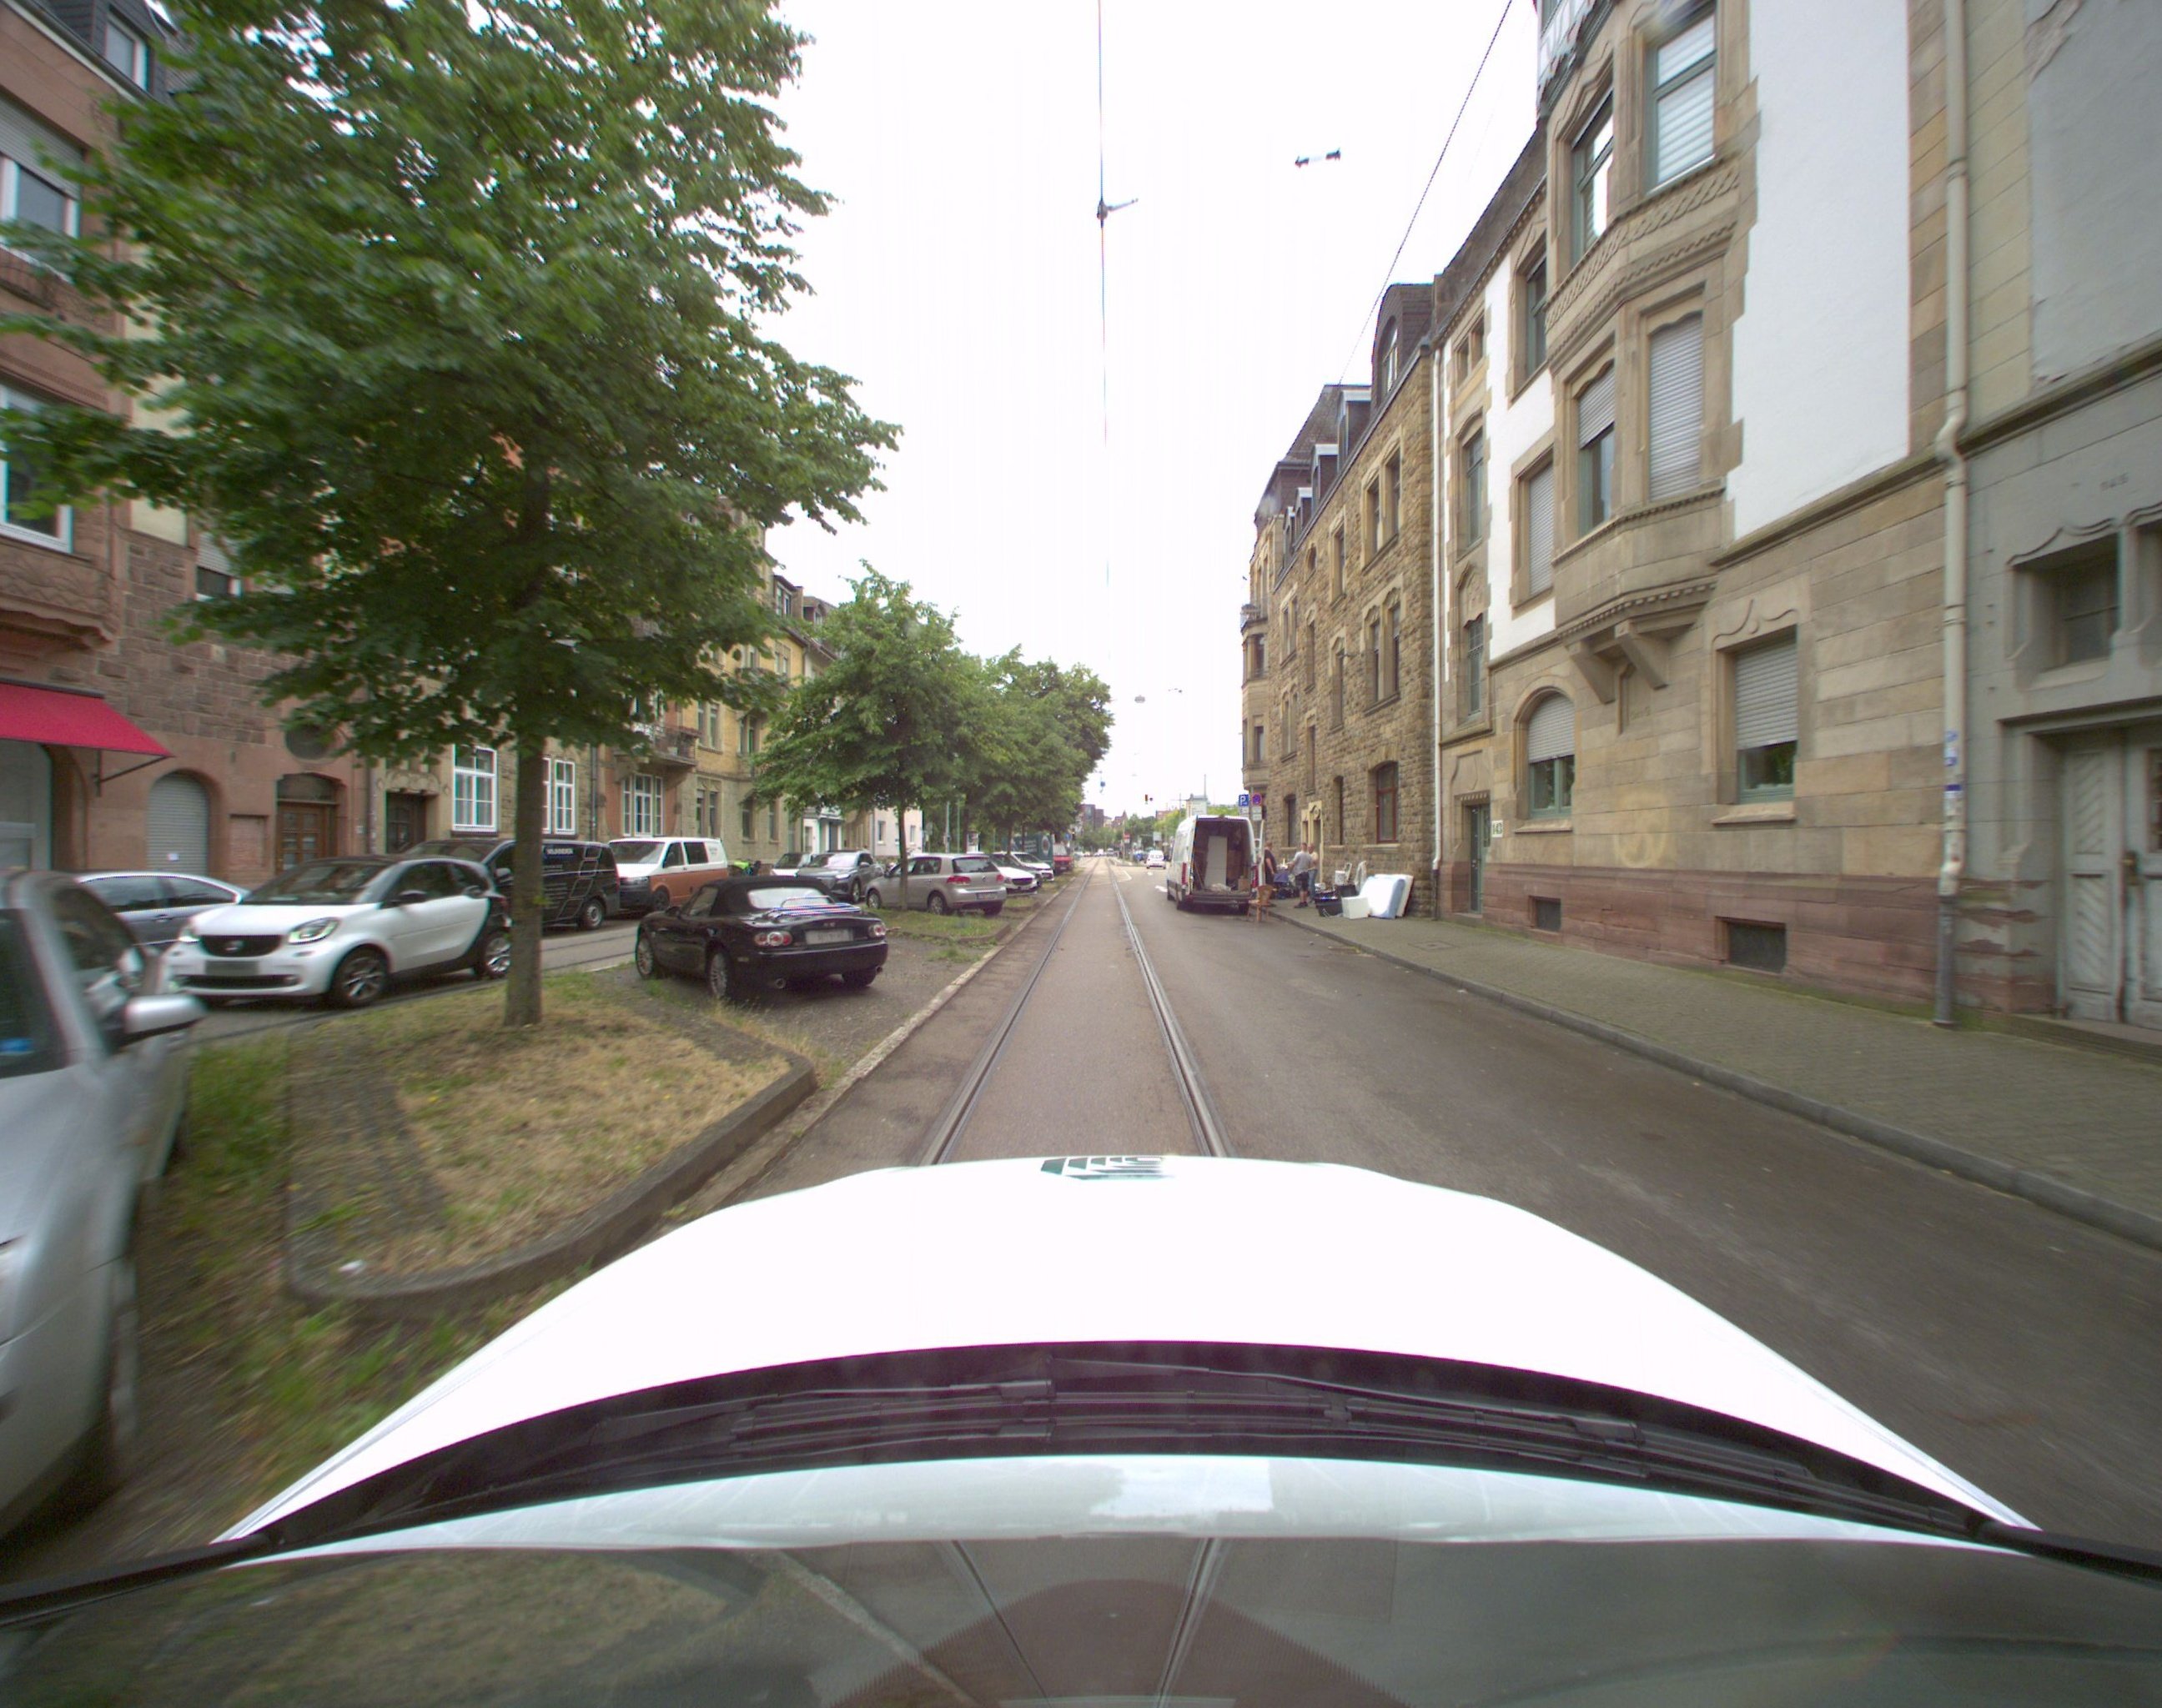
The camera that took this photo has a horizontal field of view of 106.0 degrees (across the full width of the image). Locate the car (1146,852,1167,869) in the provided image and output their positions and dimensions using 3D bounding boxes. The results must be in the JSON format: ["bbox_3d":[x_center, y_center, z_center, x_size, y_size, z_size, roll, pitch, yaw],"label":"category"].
[{"bbox_3d":[6.877,0.586,73.856,1.773,1.472,4.018,0,0,7],"label":"car"}]

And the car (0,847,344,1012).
[{"bbox_3d":[-10.936,0.707,8.792,1.734,1.542,4.554,0,0,1],"label":"car"}]

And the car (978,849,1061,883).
[{"bbox_3d":[-2.853,0.528,37.491,3.815,1.463,1.700,0,0,43],"label":"car"}]

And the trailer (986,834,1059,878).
[{"bbox_3d":[-3.264,0.099,45.478,3.624,2.344,1.943,0,0,34],"label":"trailer"}]

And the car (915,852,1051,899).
[{"bbox_3d":[-3.344,0.645,27.252,4.629,1.435,1.910,0,0,41],"label":"car"}]

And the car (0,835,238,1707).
[{"bbox_3d":[-3.451,0.641,2.094,4.610,1.368,1.768,1,0,44],"label":"car"}]

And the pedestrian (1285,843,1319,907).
[{"bbox_3d":[6.043,0.565,22.300,0.706,1.700,0.489,-2,0,-26],"label":"pedestrian"}]

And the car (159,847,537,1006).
[{"bbox_3d":[-7.961,0.696,9.218,1.599,1.514,2.893,0,0,1],"label":"car"}]

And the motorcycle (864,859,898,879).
[{"bbox_3d":[-10.614,0.792,43.301,0.703,1.038,2.240,0,0,18],"label":"motorcycle"}]

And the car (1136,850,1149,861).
[{"bbox_3d":[11.353,0.217,150.569,2.171,2.033,4.386,0,0,3],"label":"car"}]

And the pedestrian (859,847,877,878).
[{"bbox_3d":[-12.216,0.468,46.766,0.795,1.766,0.900,0,0,0],"label":"pedestrian"}]

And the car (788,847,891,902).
[{"bbox_3d":[-7.498,0.591,25.757,1.798,1.579,4.547,0,0,1],"label":"car"}]

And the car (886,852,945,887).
[{"bbox_3d":[-7.382,0.669,36.767,1.638,1.504,4.622,0,0,1],"label":"car"}]

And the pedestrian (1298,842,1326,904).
[{"bbox_3d":[6.545,0.520,23.113,0.507,1.717,0.579,-2,0,-9],"label":"pedestrian"}]

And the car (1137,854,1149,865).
[{"bbox_3d":[9.961,0.799,130.414,1.776,1.679,4.384,0,0,2],"label":"car"}]

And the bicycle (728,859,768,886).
[{"bbox_3d":[-13.575,0.740,33.262,0.708,1.072,2.259,0,0,0],"label":"bicycle"}]

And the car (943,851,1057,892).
[{"bbox_3d":[-3.076,0.602,30.446,4.286,1.435,1.910,0,0,43],"label":"car"}]

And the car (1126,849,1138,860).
[{"bbox_3d":[8.169,0.074,130.215,1.776,1.679,4.384,0,0,2],"label":"car"}]

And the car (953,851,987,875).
[{"bbox_3d":[-7.255,0.581,53.509,1.638,1.504,3.884,0,0,1],"label":"car"}]

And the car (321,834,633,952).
[{"bbox_3d":[-10.594,0.602,14.945,1.807,1.781,5.118,0,0,1],"label":"car"}]

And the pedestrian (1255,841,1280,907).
[{"bbox_3d":[5.286,0.552,23.056,0.497,1.815,0.803,-2,0,3],"label":"pedestrian"}]

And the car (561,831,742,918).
[{"bbox_3d":[-10.743,0.479,20.913,1.874,1.952,5.094,0,0,1],"label":"car"}]

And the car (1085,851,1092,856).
[{"bbox_3d":[2.231,-0.081,245.746,1.760,1.493,3.895,0,0,8],"label":"car"}]

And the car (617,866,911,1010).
[{"bbox_3d":[-3.742,0.779,9.256,3.914,1.202,1.678,1,0,45],"label":"car"}]

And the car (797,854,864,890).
[{"bbox_3d":[-10.686,0.711,34.951,1.629,1.443,3.923,0,0,0],"label":"car"}]

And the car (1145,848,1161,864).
[{"bbox_3d":[9.027,0.279,102.120,1.775,1.962,4.385,0,0,2],"label":"car"}]

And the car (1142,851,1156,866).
[{"bbox_3d":[9.483,0.587,114.158,1.776,1.962,4.384,0,0,2],"label":"car"}]

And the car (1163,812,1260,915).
[{"bbox_3d":[3.682,0.222,24.271,2.005,2.548,7.021,2,0,2],"label":"car"}]

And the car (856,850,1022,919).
[{"bbox_3d":[-3.492,0.648,19.637,4.066,1.484,1.808,1,0,42],"label":"car"}]

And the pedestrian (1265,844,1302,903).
[{"bbox_3d":[6.033,0.577,24.250,0.863,1.700,0.535,-2,0,-13],"label":"pedestrian"}]

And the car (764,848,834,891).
[{"bbox_3d":[-10.683,0.569,31.067,1.629,1.550,2.951,0,0,0],"label":"car"}]

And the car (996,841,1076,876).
[{"bbox_3d":[-2.705,0.263,48.418,4.707,1.974,1.972,0,0,40],"label":"car"}]
